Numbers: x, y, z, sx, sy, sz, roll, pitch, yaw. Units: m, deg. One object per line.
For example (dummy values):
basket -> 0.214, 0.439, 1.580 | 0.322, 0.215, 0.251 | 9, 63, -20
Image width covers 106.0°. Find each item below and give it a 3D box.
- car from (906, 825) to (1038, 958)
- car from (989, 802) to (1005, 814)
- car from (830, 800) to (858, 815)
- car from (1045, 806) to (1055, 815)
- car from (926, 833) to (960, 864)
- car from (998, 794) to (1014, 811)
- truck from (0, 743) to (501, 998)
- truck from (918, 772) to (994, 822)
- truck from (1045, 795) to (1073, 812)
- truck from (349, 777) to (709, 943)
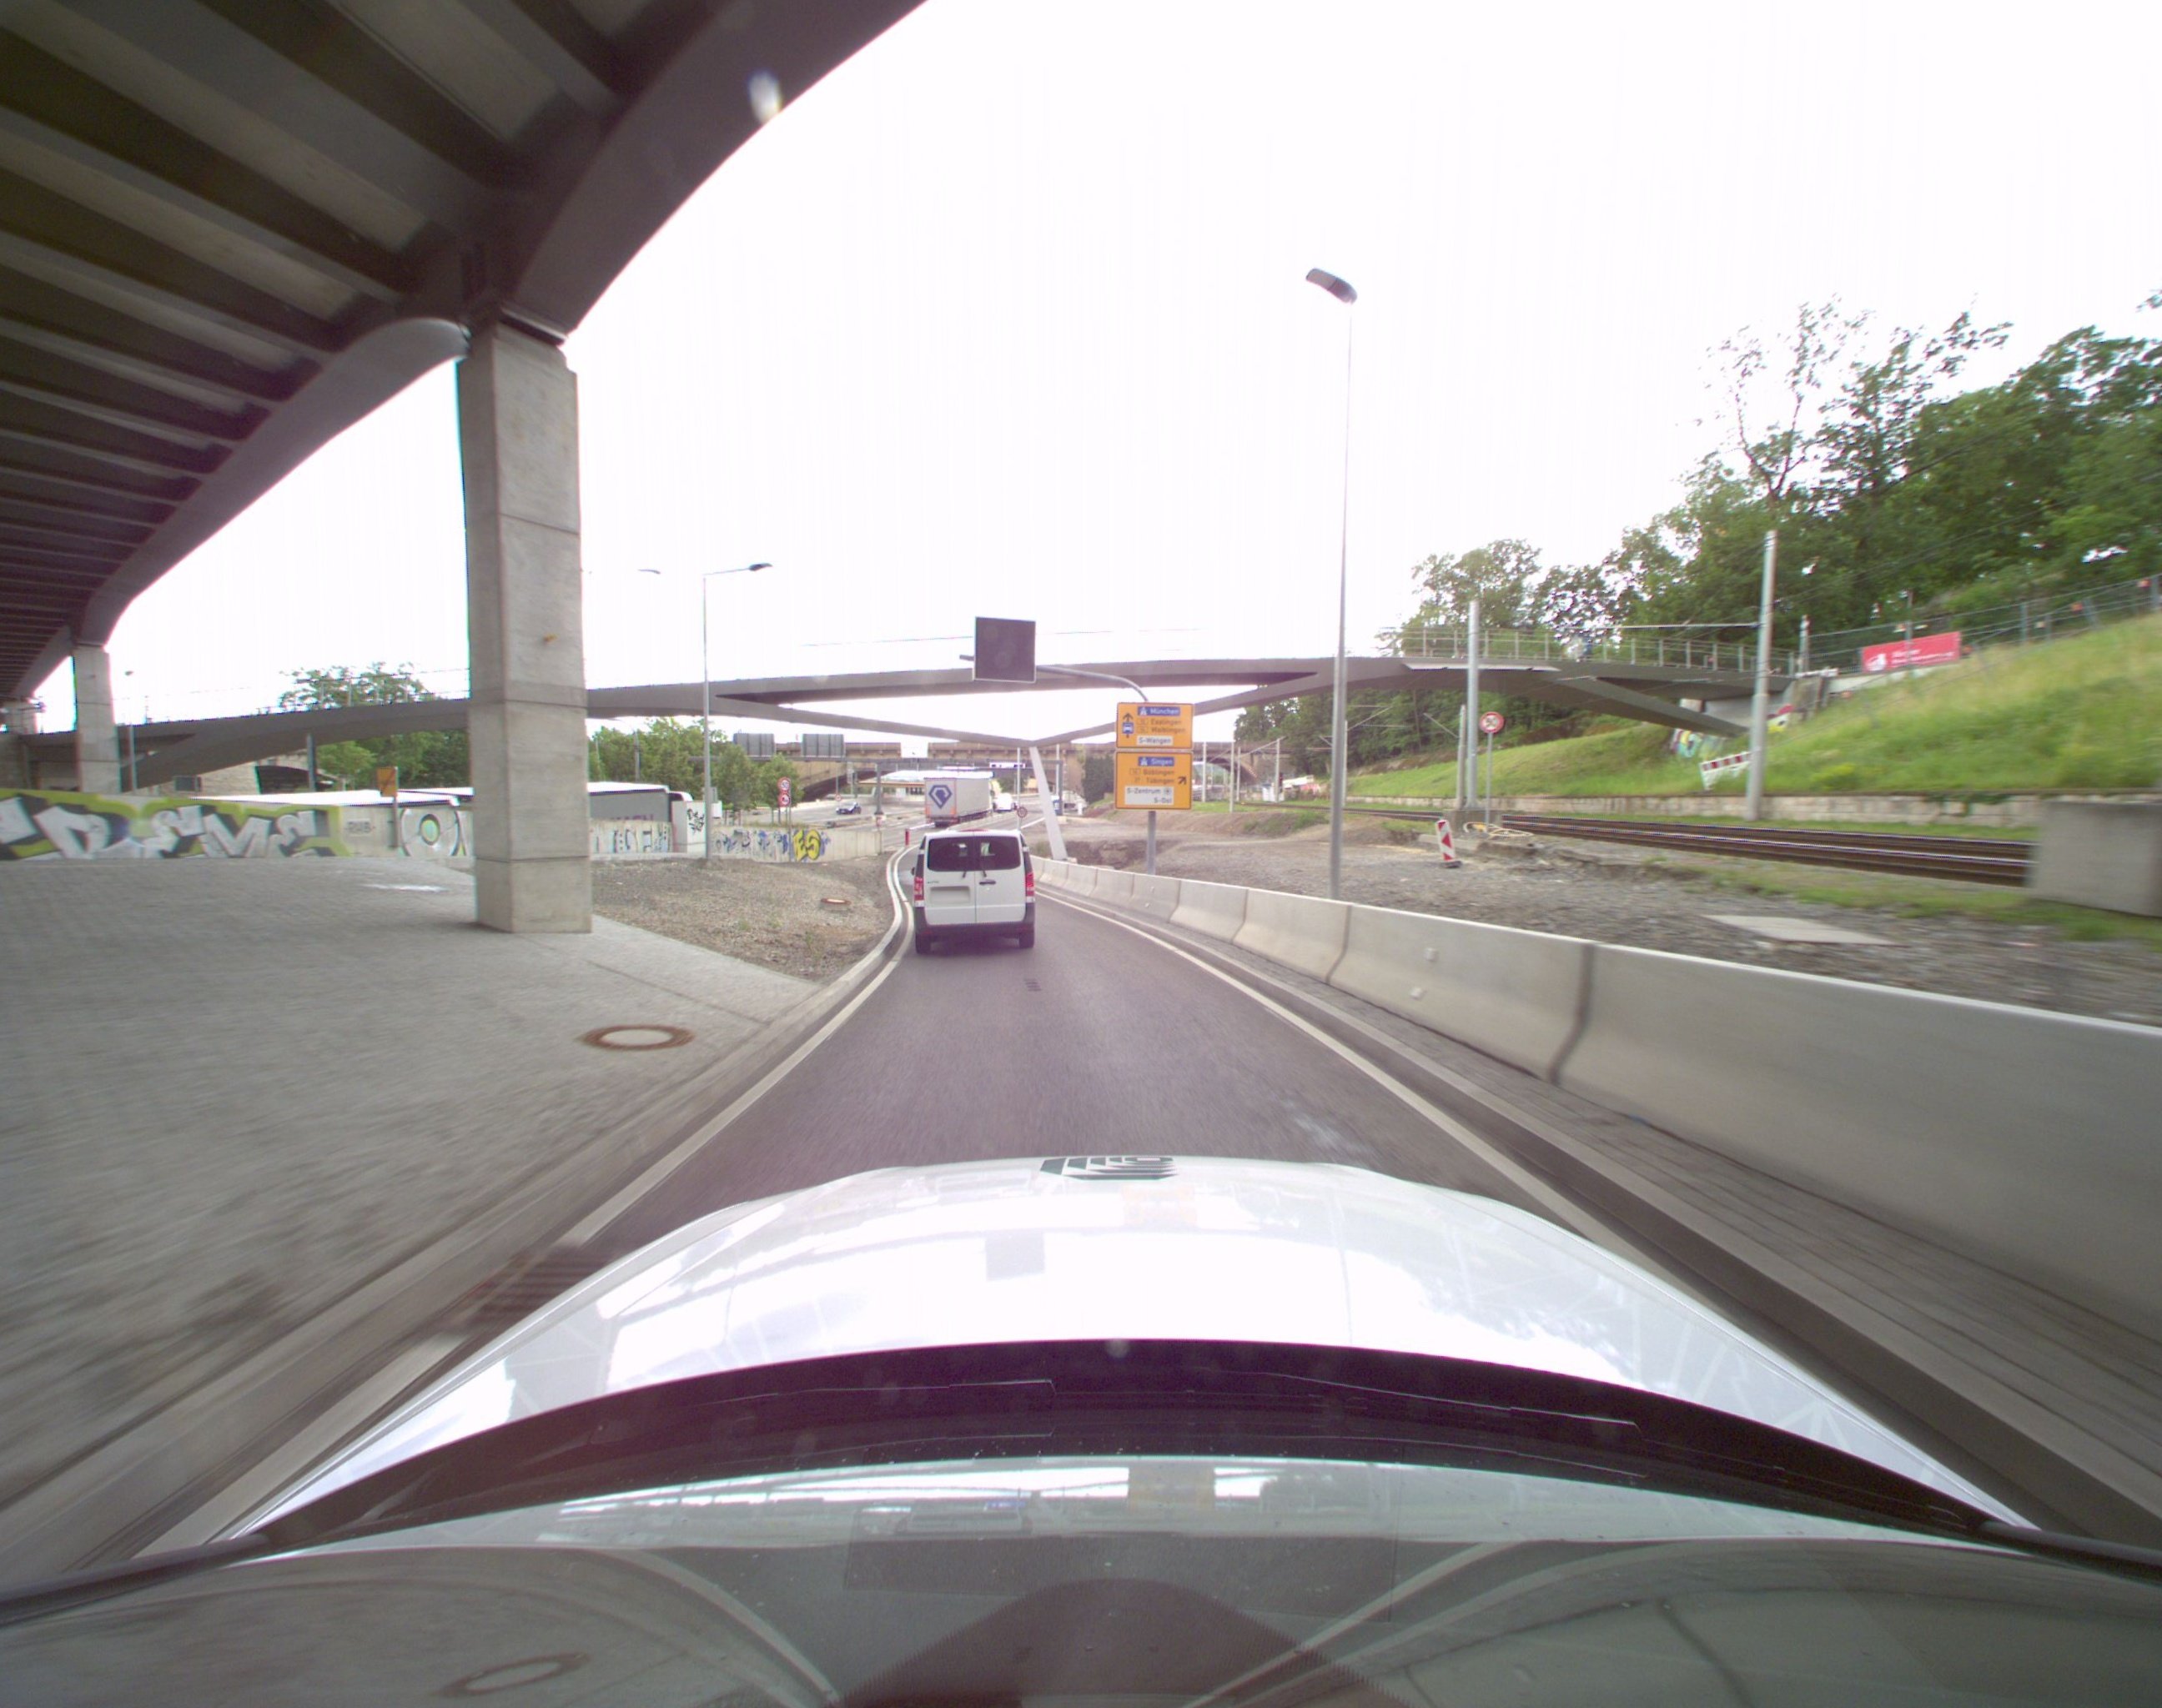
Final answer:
car -> -1.869, 0.536, 14.212 | 1.875, 1.891, 4.741 | -1, 0, -7
car -> -12.596, -6.883, 122.228 | 1.638, 1.620, 4.006 | 2, 3, 4
car -> -26.959, -5.278, 92.888 | 1.698, 1.624, 4.006 | 0, 2, 5
car -> -5.743, -8.158, 152.702 | 1.617, 1.584, 4.003 | 2, 2, 2
car -> -7.016, -0.318, 41.678 | 1.499, 1.468, 3.392 | 1, 2, -7
car -> -10.159, -6.968, 110.329 | 1.893, 2.115, 4.482 | 2, 2, -3
truck -> -17.958, 0.121, 17.370 | 2.902, 4.016, 10.221 | 2, 1, 7
truck -> -10.618, -5.083, 71.634 | 3.304, 3.807, 16.612 | 2, 5, 2
truck -> -4.548, -10.445, 169.352 | 3.369, 3.148, 7.289 | 4, 2, 17
truck -> -16.747, 0.004, 26.468 | 2.972, 4.175, 11.263 | 2, 1, 7
